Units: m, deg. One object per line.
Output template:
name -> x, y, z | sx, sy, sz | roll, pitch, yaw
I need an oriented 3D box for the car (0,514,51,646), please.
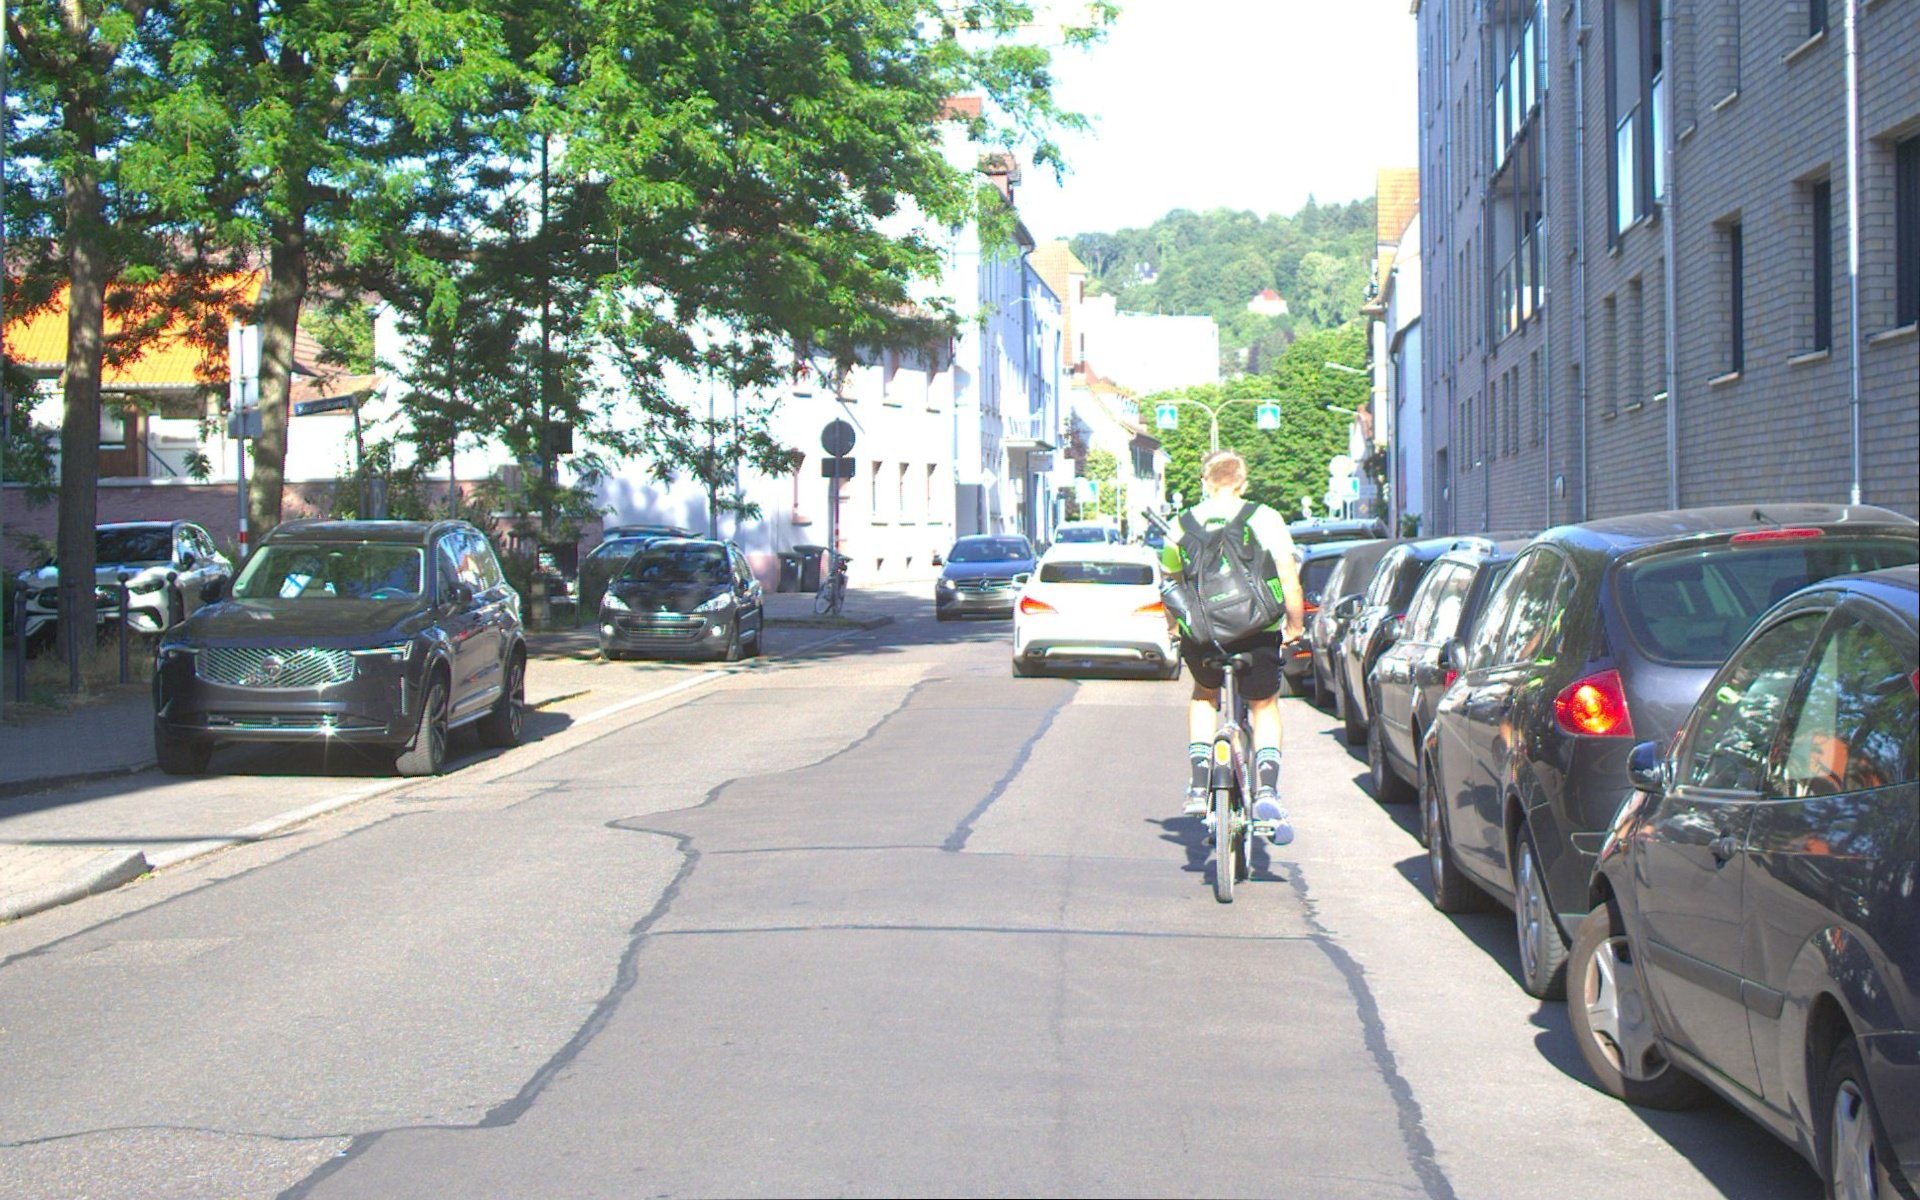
car -> -12.699, -0.269, 42.554 | 1.857, 1.581, 3.672 | 2, 2, 0

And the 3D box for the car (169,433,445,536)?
car -> -10.194, -1.804, 53.786 | 3.902, 1.570, 1.709 | 0, 1, 7

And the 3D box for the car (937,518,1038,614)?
car -> 0.485, -0.607, 59.073 | 1.664, 1.570, 3.914 | 0, 2, 1

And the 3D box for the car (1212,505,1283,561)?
car -> 9.376, -2.214, 112.391 | 1.853, 1.785, 4.608 | 0, 2, -1

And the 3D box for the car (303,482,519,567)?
car -> -10.273, -1.424, 64.555 | 3.900, 1.570, 1.710 | 0, 1, -6

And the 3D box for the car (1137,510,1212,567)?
car -> 6.484, -1.856, 103.417 | 1.945, 1.581, 4.620 | -3, 1, 7

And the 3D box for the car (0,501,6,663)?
car -> -10.239, -0.137, 31.381 | 1.857, 1.581, 4.622 | 2, 2, -2

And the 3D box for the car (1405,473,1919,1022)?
car -> 2.676, 0.408, 12.605 | 1.664, 1.696, 3.914 | 0, 1, 1

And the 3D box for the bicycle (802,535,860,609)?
bicycle -> -2.201, -0.493, 58.875 | 0.835, 1.213, 2.842 | 0, 1, 1

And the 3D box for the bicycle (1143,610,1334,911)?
bicycle -> 1.148, 0.631, 14.605 | 0.698, 1.126, 2.403 | 0, 1, 2

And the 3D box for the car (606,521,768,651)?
car -> -3.434, -0.215, 43.843 | 1.704, 1.570, 3.914 | 0, 2, 1

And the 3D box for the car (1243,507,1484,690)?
car -> 3.883, -0.055, 33.791 | 1.858, 1.581, 4.621 | -3, 1, 1

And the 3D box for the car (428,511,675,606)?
car -> -6.868, -0.716, 58.002 | 3.901, 1.570, 1.710 | 0, 1, 4

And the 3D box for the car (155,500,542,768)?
car -> -4.391, 0.166, 25.394 | 1.853, 1.785, 4.607 | 0, 2, 3

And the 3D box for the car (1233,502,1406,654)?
car -> 4.413, -0.308, 42.775 | 1.858, 1.696, 4.621 | -3, 1, 3

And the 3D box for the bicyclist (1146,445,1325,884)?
bicyclist -> 1.149, 0.256, 14.517 | 0.698, 1.784, 1.040 | 0, 1, 2

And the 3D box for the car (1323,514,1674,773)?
car -> 3.543, 0.216, 23.404 | 1.858, 1.581, 4.621 | 0, 1, 3

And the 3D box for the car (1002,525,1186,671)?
car -> 1.409, -0.051, 37.503 | 1.842, 1.486, 4.144 | 0, 1, 0

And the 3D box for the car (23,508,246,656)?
car -> -10.185, -0.271, 42.679 | 1.790, 1.684, 3.965 | 2, 2, 0

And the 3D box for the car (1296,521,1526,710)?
car -> 3.781, 0.091, 29.253 | 1.508, 1.439, 3.529 | -3, 1, 1

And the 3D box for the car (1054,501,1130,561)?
car -> 3.837, -2.000, 99.577 | 1.945, 1.581, 4.621 | -3, 1, 5

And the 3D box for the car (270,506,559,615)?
car -> -8.065, -0.606, 50.952 | 3.902, 1.570, 1.709 | 0, 1, 9

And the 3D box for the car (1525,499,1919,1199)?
car -> 2.481, 0.547, 8.022 | 1.629, 1.581, 4.069 | -3, 1, 1
